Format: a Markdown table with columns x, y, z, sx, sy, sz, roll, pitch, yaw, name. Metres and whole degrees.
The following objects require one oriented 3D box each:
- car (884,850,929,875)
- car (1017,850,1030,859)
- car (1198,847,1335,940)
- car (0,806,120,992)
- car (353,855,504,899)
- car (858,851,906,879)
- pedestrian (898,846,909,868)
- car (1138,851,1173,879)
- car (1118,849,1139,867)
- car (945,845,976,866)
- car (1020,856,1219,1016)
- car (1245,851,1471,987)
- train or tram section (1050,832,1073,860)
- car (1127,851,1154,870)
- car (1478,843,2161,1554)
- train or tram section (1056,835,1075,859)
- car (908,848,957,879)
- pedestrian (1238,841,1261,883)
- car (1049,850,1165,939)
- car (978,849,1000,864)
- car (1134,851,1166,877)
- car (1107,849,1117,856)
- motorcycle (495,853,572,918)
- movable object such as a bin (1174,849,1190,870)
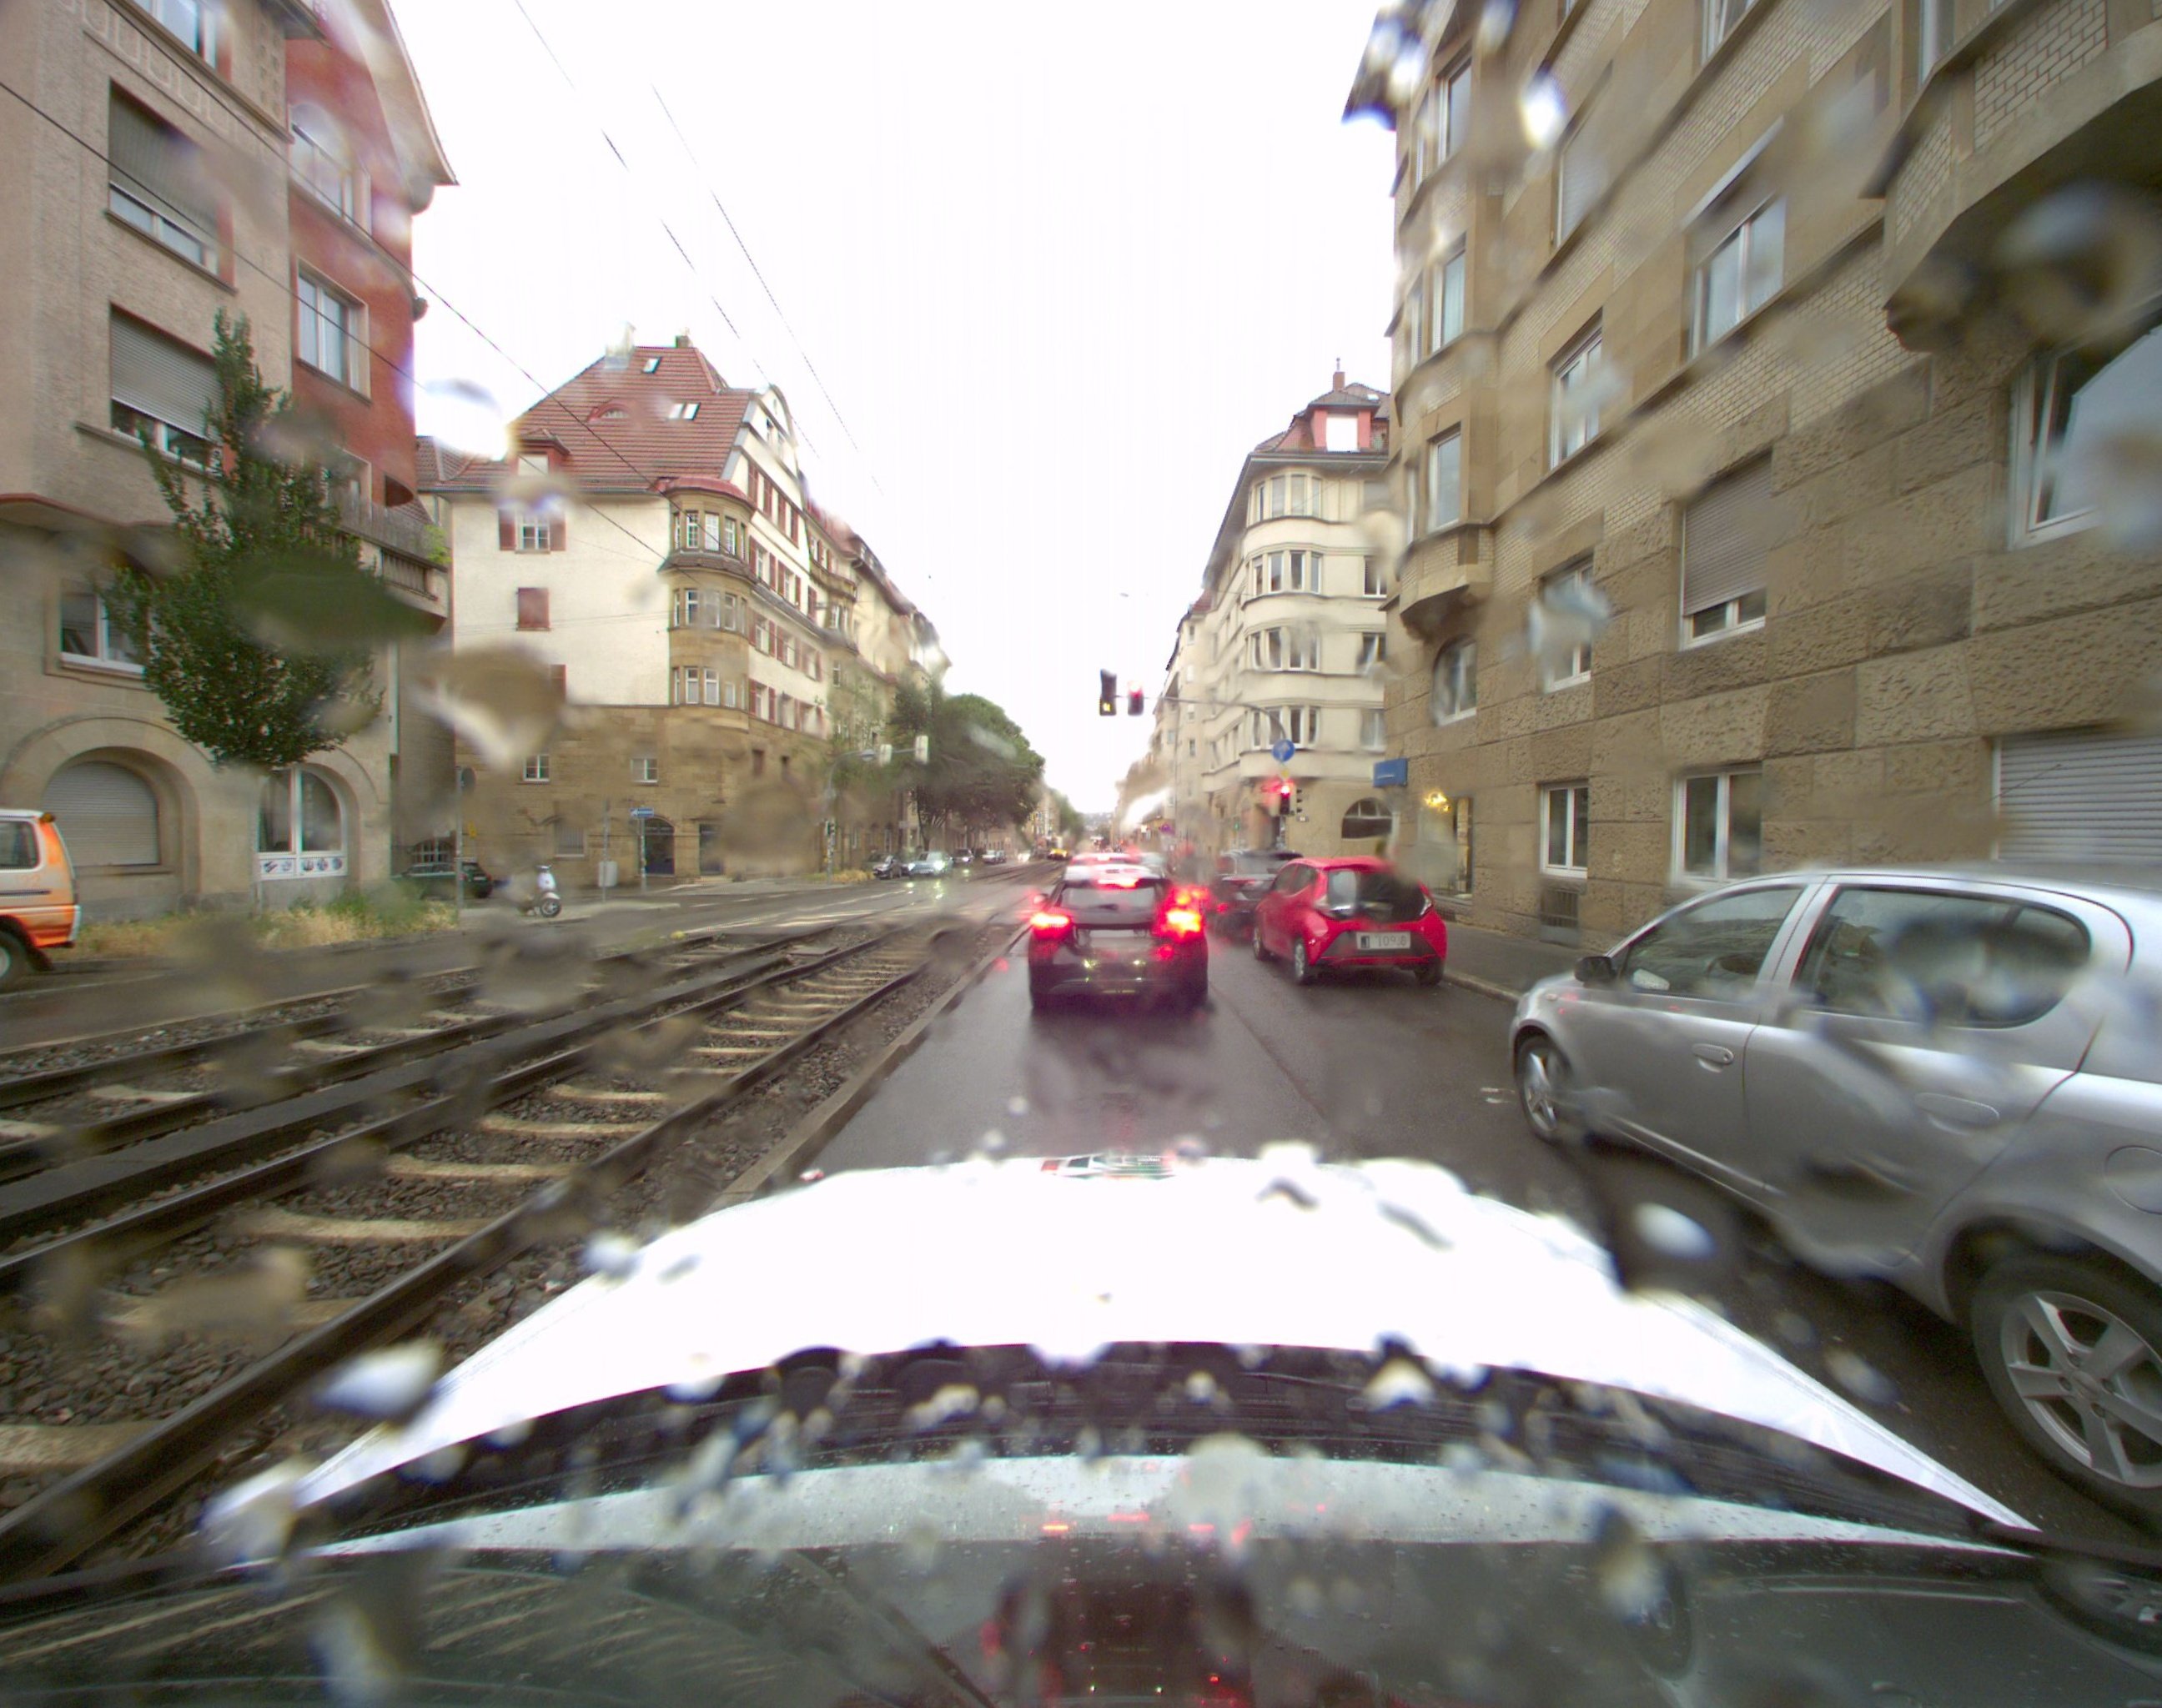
| x | y | z | sx | sy | sz | roll | pitch | yaw | name |
| --- | --- | --- | --- | --- | --- | --- | --- | --- | --- |
| -10.992 | 0.542 | 51.676 | 1.775 | 1.460 | 4.978 | 0 | 0 | 0 | car |
| -8.947 | 0.090 | 127.190 | 1.775 | 1.502 | 4.062 | 0 | -1 | 0 | car |
| 3.443 | 0.671 | 15.830 | 1.860 | 1.549 | 3.992 | 1 | 0 | 2 | car |
| -12.080 | 0.459 | 7.241 | 1.722 | 1.930 | 4.476 | 0 | -1 | 0 | car |
| -24.446 | 0.845 | 30.641 | 3.977 | 1.574 | 1.998 | 0 | -1 | -2 | car |
| -11.189 | 0.617 | 46.121 | 1.684 | 1.529 | 4.175 | 0 | -1 | 0 | car |
| -13.999 | 0.227 | 64.197 | 0.726 | 1.663 | 0.771 | 0 | 0 | 1 | pedestrian |
| 3.917 | 0.600 | 43.679 | 1.703 | 1.410 | 4.821 | 0 | 0 | 3 | car |
| 4.397 | 0.386 | 74.560 | 1.833 | 1.608 | 4.765 | 0 | -1 | 4 | car |
| -10.740 | 0.117 | 72.598 | 1.946 | 1.742 | 4.779 | 3 | 1 | 0 | car |
| 0.415 | 0.758 | 9.426 | 1.828 | 1.453 | 3.903 | 0 | 0 | 2 | car |
| 3.345 | 0.705 | 10.556 | 1.700 | 1.453 | 3.531 | 1 | 0 | -1 | car |
| -2.918 | -1.198 | 126.415 | 2.736 | 4.061 | 17.216 | 0 | 0 | 1 | train or tram section |
| 4.491 | 0.517 | 61.966 | 1.783 | 1.385 | 4.396 | 0 | 0 | 1 | car |
| 3.107 | 0.716 | 3.073 | 1.588 | 1.487 | 3.524 | -1 | 0 | 2 | car |
| -2.552 | -1.218 | 142.676 | 2.736 | 4.061 | 15.663 | 0 | 0 | 1 | train or tram section |
| -8.205 | 0.511 | 45.292 | 1.915 | 1.617 | 4.128 | 0 | -1 | 0 | car |
| 6.870 | 0.312 | 33.280 | 0.801 | 1.687 | 0.754 | 0 | -1 | 1 | pedestrian |
| 0.517 | 0.701 | 16.247 | 1.986 | 1.525 | 4.247 | 1 | 0 | 2 | car |
| -10.117 | 0.260 | 89.902 | 1.954 | 1.605 | 4.329 | 1 | 1 | 1 | car |
| 4.118 | 0.599 | 49.046 | 1.705 | 1.468 | 4.775 | 0 | 0 | 2 | car |
| 6.297 | -0.300 | 163.637 | 1.879 | 1.525 | 4.249 | 1 | 0 | 3 | car |
| -12.008 | 0.670 | 17.857 | 1.761 | 1.375 | 0.772 | -1 | -1 | 33 | motorcycle |
| 7.414 | 0.404 | 59.756 | 0.976 | 1.468 | 1.273 | 0 | -1 | 1 | movable object such as a bin |
